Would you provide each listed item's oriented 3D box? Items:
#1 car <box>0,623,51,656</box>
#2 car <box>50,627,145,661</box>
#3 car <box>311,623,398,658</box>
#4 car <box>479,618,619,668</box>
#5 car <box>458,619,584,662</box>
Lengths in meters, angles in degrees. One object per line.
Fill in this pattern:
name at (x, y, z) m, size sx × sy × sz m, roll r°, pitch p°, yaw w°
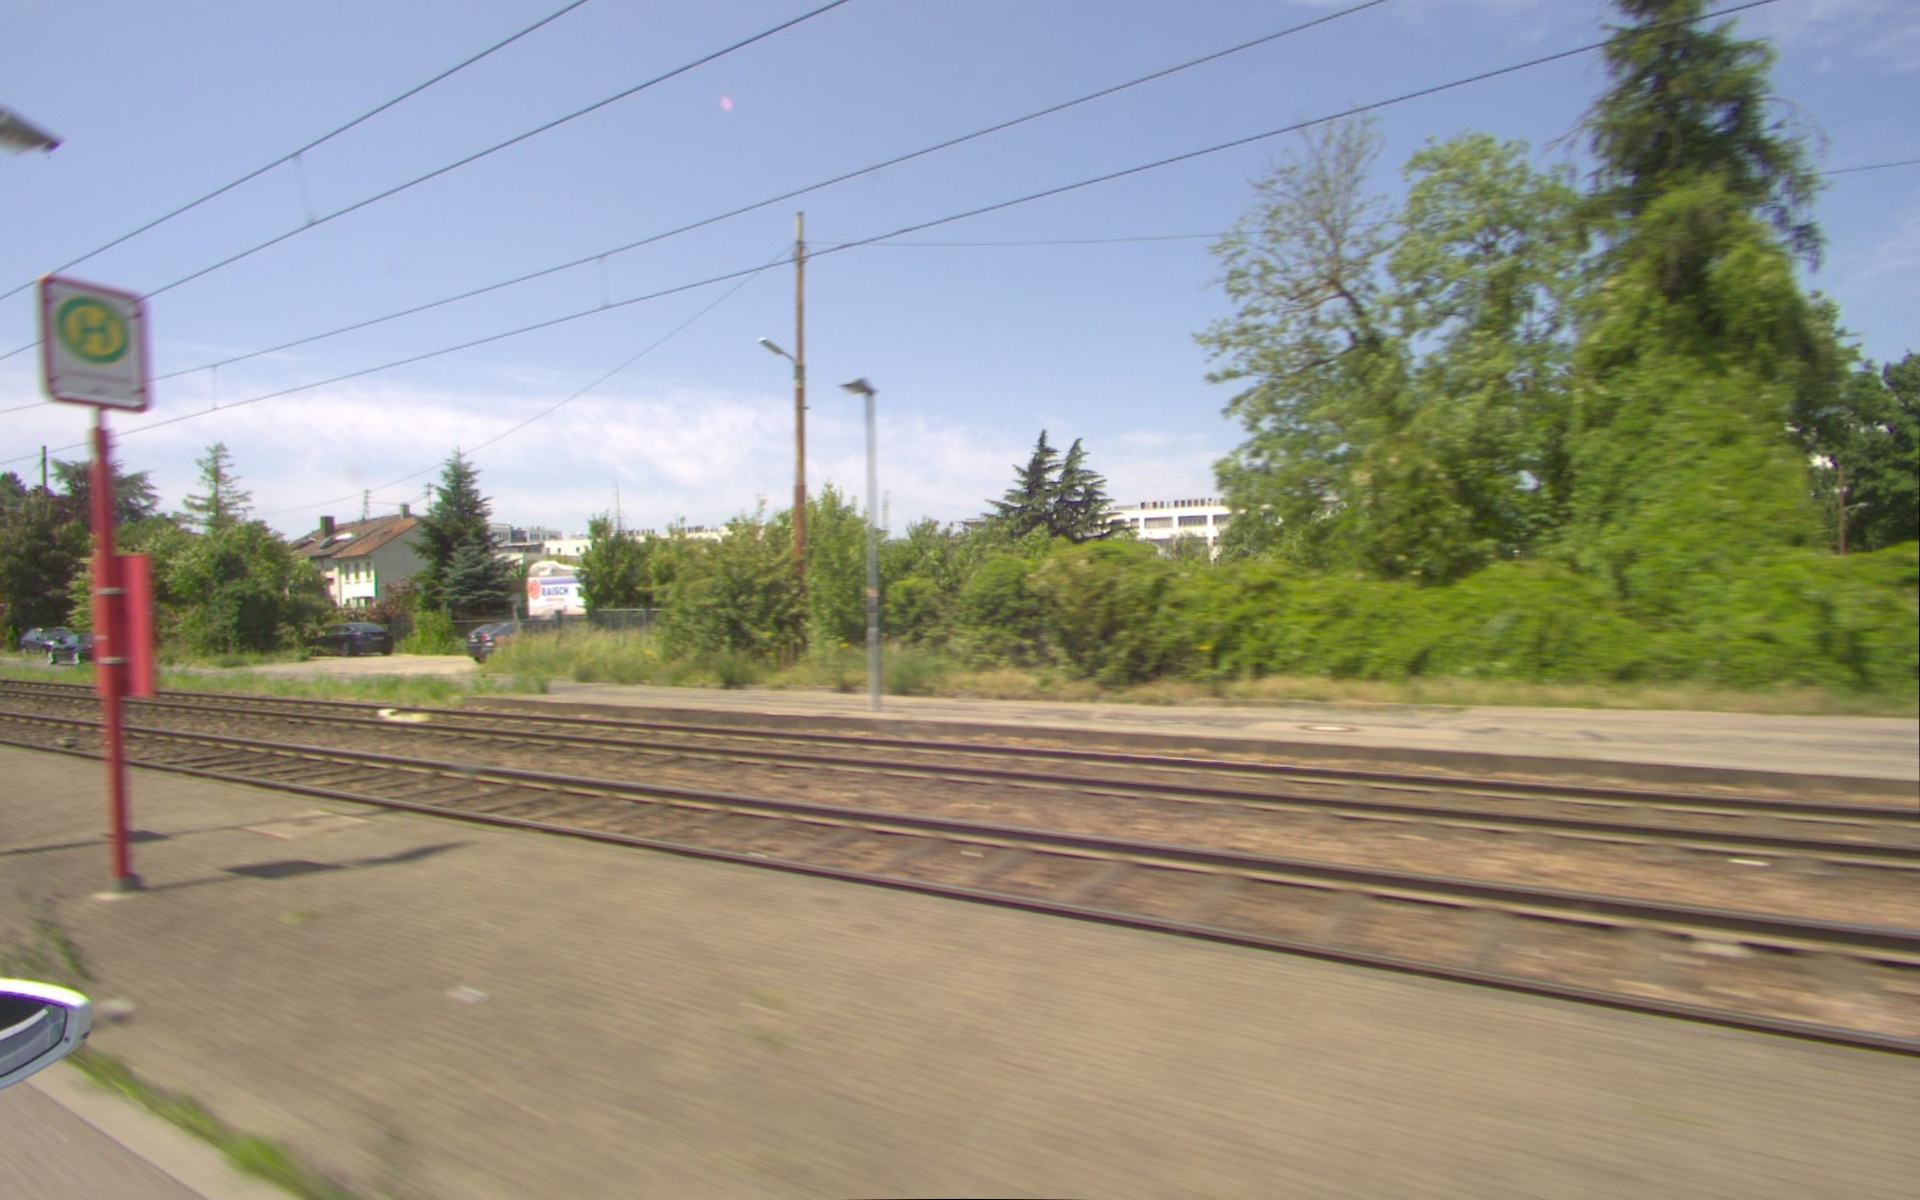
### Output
car at (-47.913, 1.963, 50.526) m, size 4.491 × 1.581 × 1.931 m, roll -1°, pitch -1°, yaw 32°
car at (-36.595, 1.848, 42.455) m, size 4.450 × 1.347 × 1.857 m, roll -1°, pitch -1°, yaw 32°
car at (-25.992, 1.707, 42.951) m, size 3.686 × 1.437 × 1.717 m, roll -1°, pitch -1°, yaw 32°
car at (-13.709, 1.394, 33.570) m, size 1.876 × 1.537 × 3.971 m, roll -1°, pitch -1°, yaw 38°
car at (-15.609, 1.415, 35.777) m, size 1.873 × 1.437 × 3.719 m, roll -1°, pitch -1°, yaw 34°
